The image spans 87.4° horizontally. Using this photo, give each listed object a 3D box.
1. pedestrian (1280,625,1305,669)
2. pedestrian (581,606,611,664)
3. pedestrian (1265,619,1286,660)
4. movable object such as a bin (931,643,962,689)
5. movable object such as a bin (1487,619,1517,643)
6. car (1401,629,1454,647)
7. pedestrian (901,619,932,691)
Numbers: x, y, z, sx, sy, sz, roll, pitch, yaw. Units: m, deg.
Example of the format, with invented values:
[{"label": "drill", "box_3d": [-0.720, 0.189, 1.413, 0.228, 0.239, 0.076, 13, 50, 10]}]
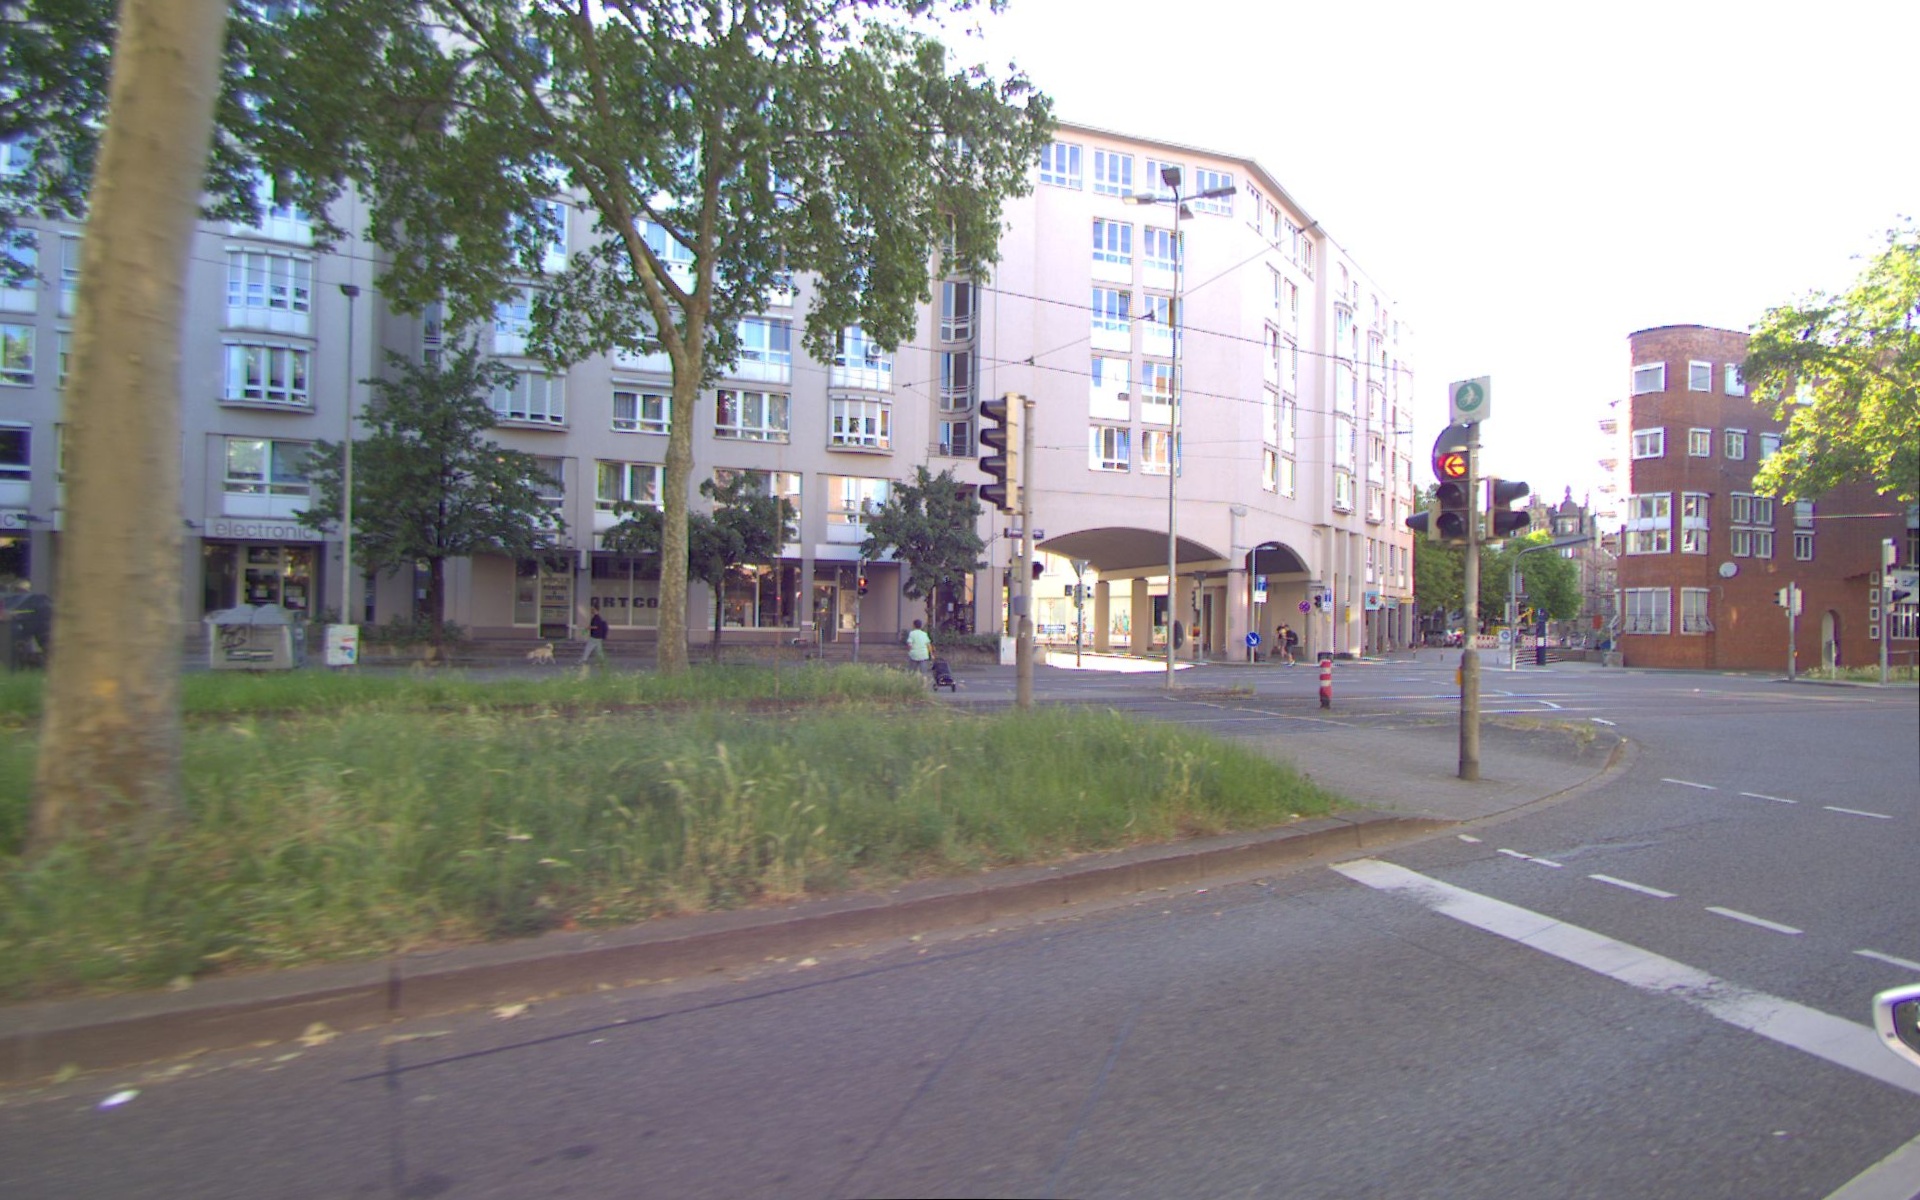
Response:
[{"label": "pedestrian", "box_3d": [14.320, 2.020, 43.315, 0.738, 1.894, 0.857, 1, -1, -6]}, {"label": "pedestrian", "box_3d": [-10.502, 1.014, 29.001, 0.776, 1.660, 0.706, 1, -1, -18]}, {"label": "pedestrian", "box_3d": [15.742, 1.968, 50.116, 0.823, 2.040, 0.885, 0, -1, 33]}, {"label": "movable object such as a bin", "box_3d": [-0.290, 1.397, 21.351, 0.530, 0.966, 0.510, 1, -1, -16]}, {"label": "movable object such as a bin", "box_3d": [53.768, 3.116, 99.692, 2.769, 2.341, 1.908, 2, -2, -44]}, {"label": "car", "box_3d": [39.326, 3.183, 84.485, 3.926, 1.419, 1.998, 0, -1, 28]}, {"label": "pedestrian", "box_3d": [-0.939, 1.189, 21.769, 0.526, 1.523, 0.618, 1, -1, -16]}]
